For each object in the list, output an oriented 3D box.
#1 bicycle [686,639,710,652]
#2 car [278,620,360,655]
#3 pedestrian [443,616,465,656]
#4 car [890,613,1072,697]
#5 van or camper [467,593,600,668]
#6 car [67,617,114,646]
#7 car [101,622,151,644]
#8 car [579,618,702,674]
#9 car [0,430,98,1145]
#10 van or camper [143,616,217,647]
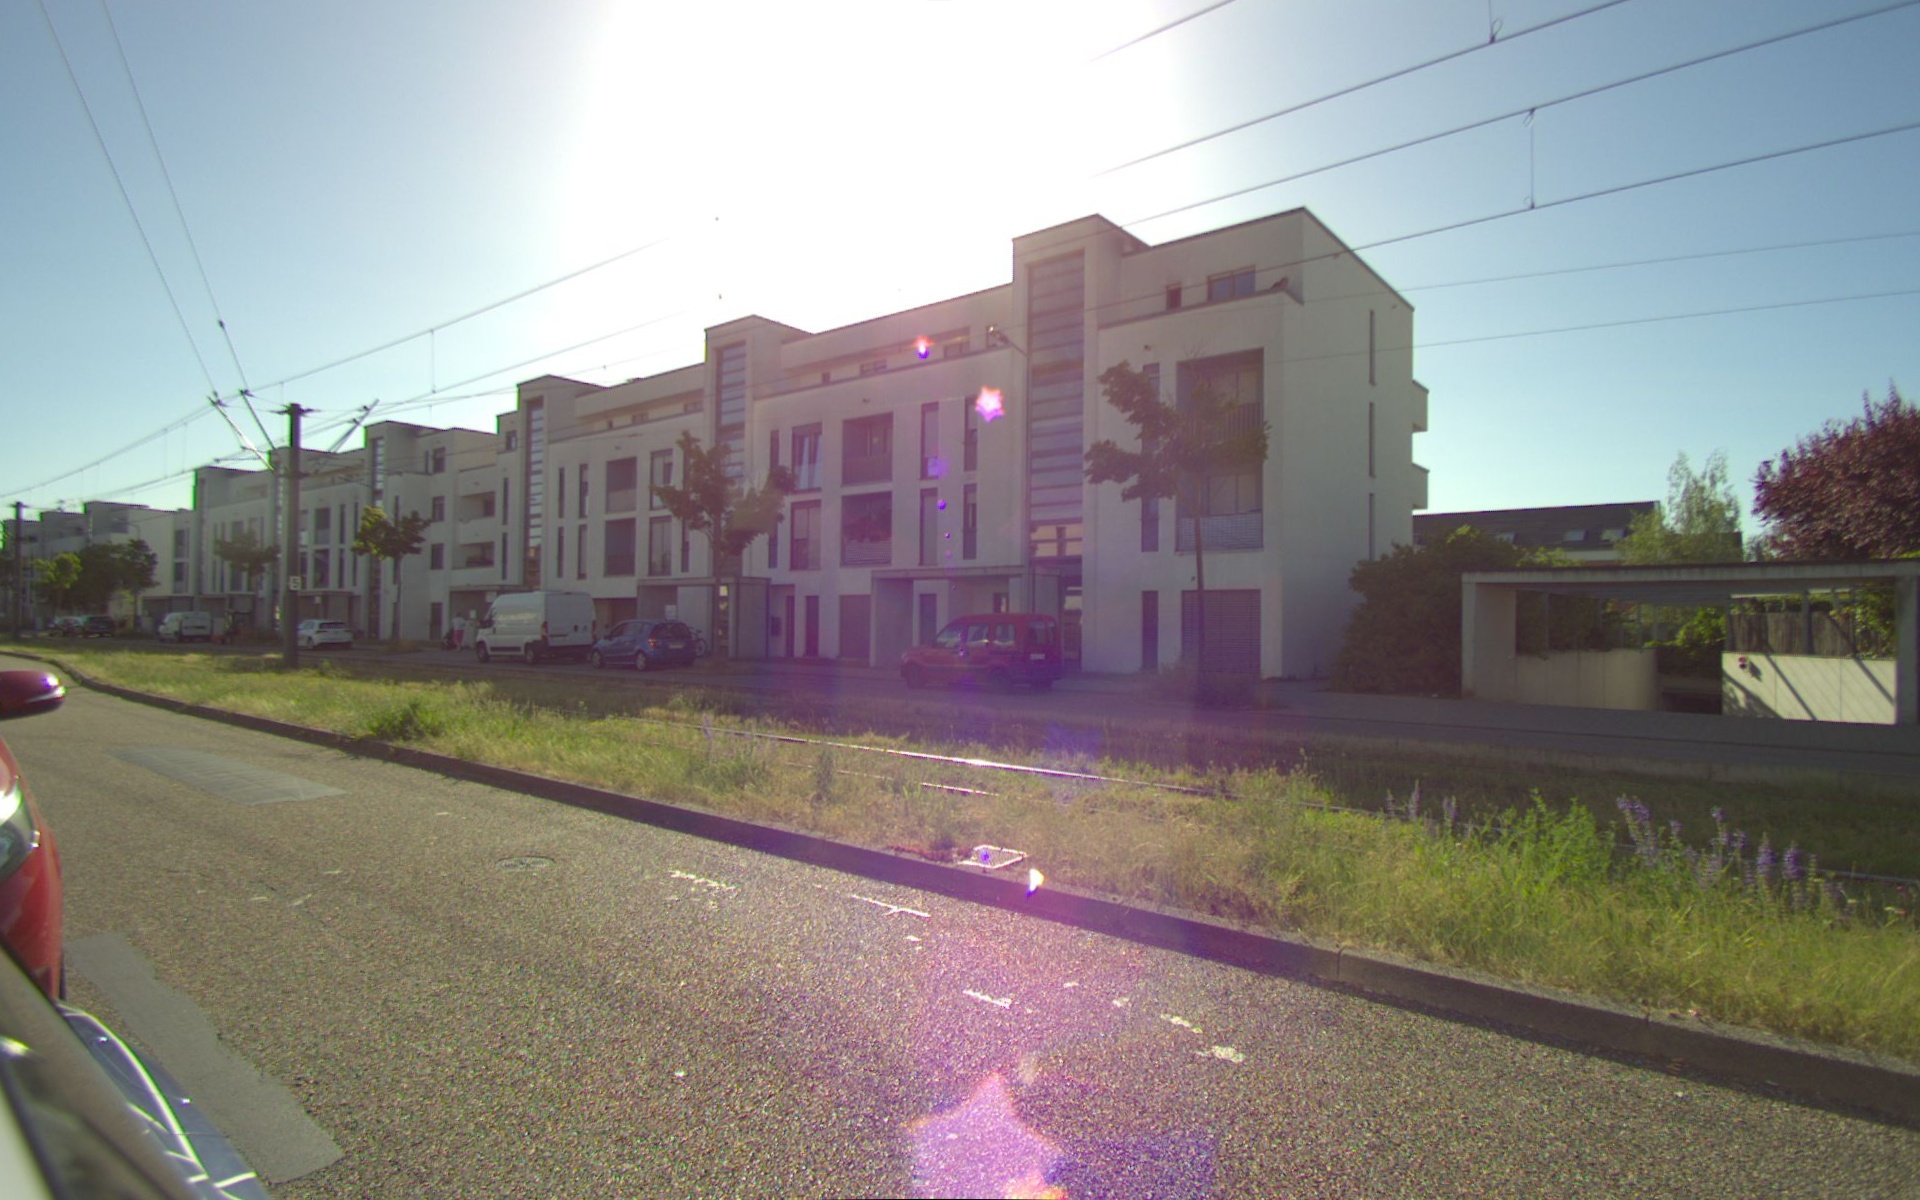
[{"bbox_3d":[-10.552,1.842,40.728,1.060,0.502,0.349,-1,-3,40],"label":"bicycle"},{"bbox_3d":[-31.050,1.795,48.987,4.115,1.598,2.022,-1,-2,38],"label":"car"},{"bbox_3d":[-21.820,1.544,43.648,0.611,1.656,0.612,-1,0,33],"label":"pedestrian"},{"bbox_3d":[0.425,1.192,22.930,3.907,1.736,1.770,-1,-3,42],"label":"car"},{"bbox_3d":[-15.184,1.077,35.925,5.256,2.484,2.170,-1,-2,40],"label":"van or camper"},{"bbox_3d":[-62.998,2.273,73.312,3.993,2.029,1.766,-1,0,37],"label":"car"},{"bbox_3d":[-56.845,2.255,68.960,3.491,1.449,1.845,-2,-1,37],"label":"car"},{"bbox_3d":[-10.001,1.408,31.590,3.833,1.625,1.910,-1,-2,40],"label":"car"},{"bbox_3d":[-5.127,0.566,3.851,5.081,1.984,2.100,-1,0,41],"label":"car"},{"bbox_3d":[-47.976,1.893,62.229,6.279,1.862,2.244,-1,-1,39],"label":"van or camper"}]
